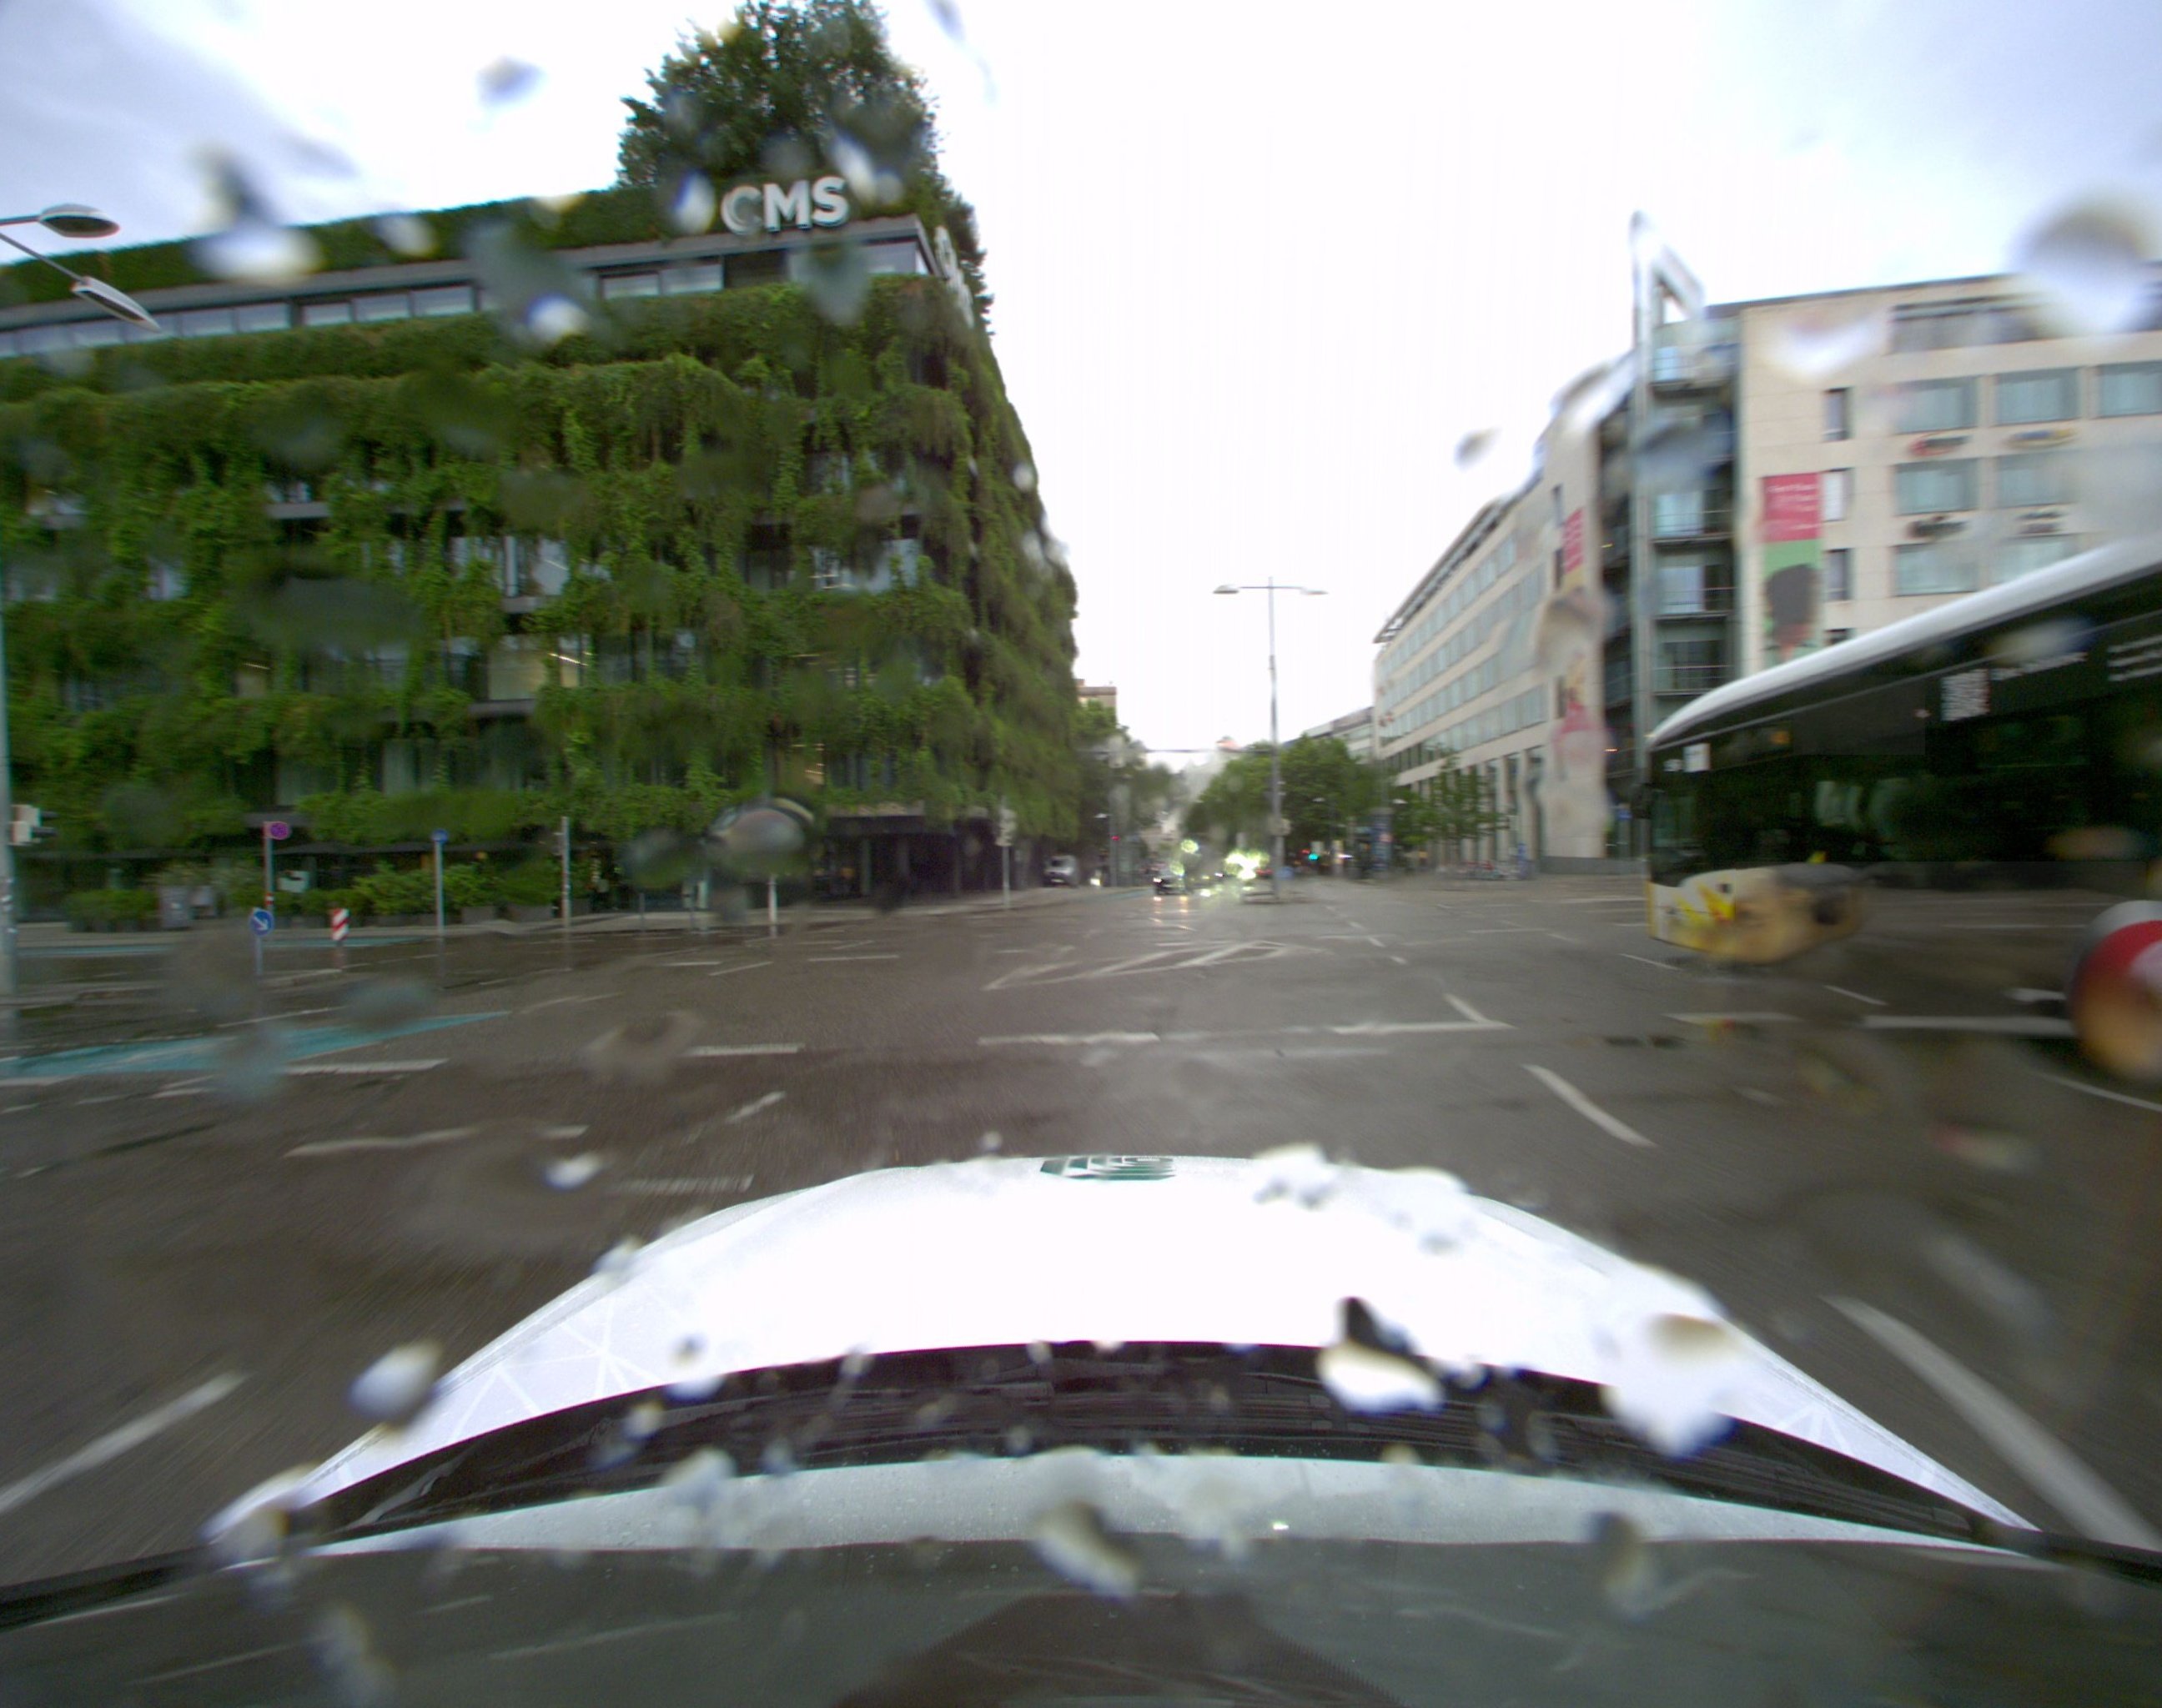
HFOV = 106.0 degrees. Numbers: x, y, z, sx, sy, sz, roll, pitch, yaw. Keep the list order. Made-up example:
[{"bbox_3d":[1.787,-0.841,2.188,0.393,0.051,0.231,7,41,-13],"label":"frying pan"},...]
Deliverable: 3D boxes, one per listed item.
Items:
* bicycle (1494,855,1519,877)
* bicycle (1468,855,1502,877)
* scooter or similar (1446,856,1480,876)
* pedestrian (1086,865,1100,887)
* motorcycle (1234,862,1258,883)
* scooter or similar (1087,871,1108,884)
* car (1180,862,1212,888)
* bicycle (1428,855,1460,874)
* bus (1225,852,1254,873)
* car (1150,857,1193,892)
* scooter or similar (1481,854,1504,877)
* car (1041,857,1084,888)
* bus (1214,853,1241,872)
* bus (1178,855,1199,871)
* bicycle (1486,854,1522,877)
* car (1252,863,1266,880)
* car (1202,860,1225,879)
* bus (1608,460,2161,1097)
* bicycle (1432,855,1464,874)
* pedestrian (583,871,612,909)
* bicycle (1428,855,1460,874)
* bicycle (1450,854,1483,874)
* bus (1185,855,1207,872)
[{"bbox_3d":[23.717,0.671,45.369,1.793,1.194,0.579,0,-2,-41],"label":"bicycle"},{"bbox_3d":[22.330,0.670,45.067,0.586,1.194,1.773,-1,-1,-17],"label":"bicycle"},{"bbox_3d":[23.253,0.748,49.574,1.765,1.194,0.588,-2,-1,13],"label":"scooter or similar"},{"bbox_3d":[0.945,1.726,63.447,0.928,1.644,0.776,-1,-1,11],"label":"pedestrian"},{"bbox_3d":[12.903,1.422,63.877,1.542,1.515,4.394,-1,-1,8],"label":"motorcycle"},{"bbox_3d":[1.304,1.906,65.592,1.669,1.004,0.617,-1,-1,-41],"label":"scooter or similar"},{"bbox_3d":[8.412,1.510,59.568,2.151,1.765,5.123,-1,-1,8],"label":"car"},{"bbox_3d":[22.943,0.677,51.466,1.765,1.194,0.588,-2,-1,13],"label":"bicycle"},{"bbox_3d":[24.437,1.320,125.922,2.623,2.995,7.438,-2,-1,-4],"label":"bus"},{"bbox_3d":[5.093,1.127,45.416,2.151,1.765,5.123,-1,-1,8],"label":"car"},{"bbox_3d":[21.663,0.593,42.911,0.457,1.194,0.952,0,-2,-39],"label":"scooter or similar"},{"bbox_3d":[-1.144,1.178,51.556,1.858,1.839,4.012,-1,-1,11],"label":"car"},{"bbox_3d":[23.942,1.428,133.317,2.623,2.995,7.438,-2,-1,-4],"label":"bus"},{"bbox_3d":[21.291,1.813,161.651,2.623,2.995,7.438,-2,-1,-4],"label":"bus"},{"bbox_3d":[22.540,0.598,43.442,1.606,1.194,0.590,-2,-2,37],"label":"bicycle"},{"bbox_3d":[21.637,2.145,99.106,1.534,2.014,4.682,-1,-1,11],"label":"car"},{"bbox_3d":[13.071,1.493,80.765,2.151,1.765,5.123,-1,-1,8],"label":"car"},{"bbox_3d":[7.721,-0.442,6.227,2.863,3.450,9.790,-2,0,12],"label":"bus"},{"bbox_3d":[23.824,0.684,52.881,1.765,1.194,0.588,-2,-1,13],"label":"bicycle"},{"bbox_3d":[-16.866,1.253,28.415,0.610,1.311,0.600,-2,-1,5],"label":"pedestrian"},{"bbox_3d":[23.218,0.682,52.061,1.765,1.194,0.588,-2,-1,13],"label":"bicycle"},{"bbox_3d":[23.723,0.634,50.122,1.765,1.194,0.588,-2,-1,13],"label":"bicycle"},{"bbox_3d":[21.799,1.750,154.304,2.623,2.995,7.316,-2,-1,-4],"label":"bus"}]
